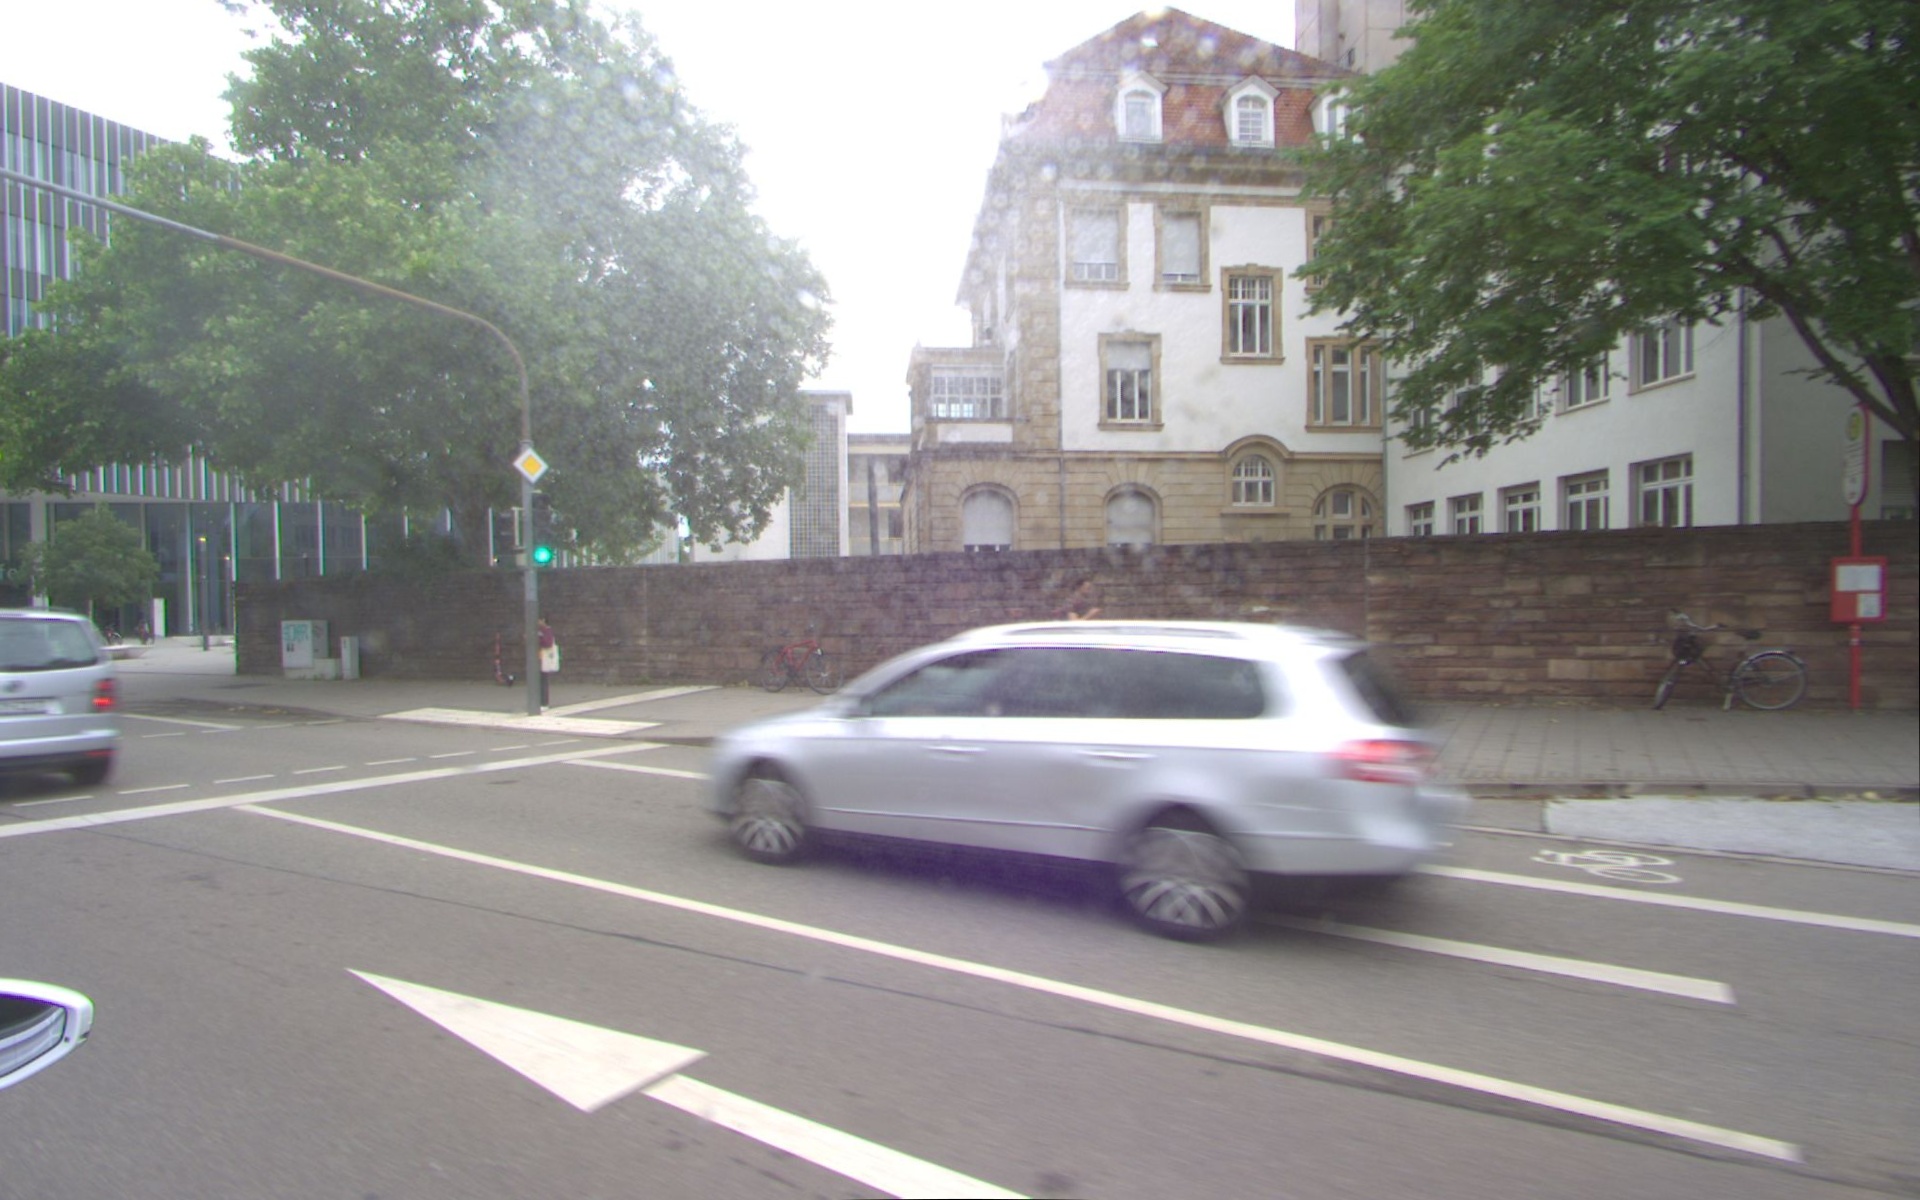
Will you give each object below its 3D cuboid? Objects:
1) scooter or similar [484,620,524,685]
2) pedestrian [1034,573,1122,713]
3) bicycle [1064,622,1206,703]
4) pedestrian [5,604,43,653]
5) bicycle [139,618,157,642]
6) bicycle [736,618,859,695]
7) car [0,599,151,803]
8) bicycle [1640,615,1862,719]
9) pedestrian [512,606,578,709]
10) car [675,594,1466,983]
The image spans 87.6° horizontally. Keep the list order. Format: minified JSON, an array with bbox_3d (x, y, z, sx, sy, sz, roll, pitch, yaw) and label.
[{"bbox_3d":[-9.140,1.018,20.049,0.427,1.195,1.693,-3,2,-33],"label":"scooter or similar"},{"bbox_3d":[1.616,0.564,13.696,1.017,1.846,0.629,0,2,32],"label":"pedestrian"},{"bbox_3d":[2.566,0.891,14.645,1.934,1.088,0.941,-1,2,17],"label":"bicycle"},{"bbox_3d":[-35.360,1.061,37.836,0.756,1.789,0.845,0,2,32],"label":"pedestrian"},{"bbox_3d":[-40.002,1.464,49.346,0.616,1.070,1.933,-2,2,-38],"label":"bicycle"},{"bbox_3d":[-2.736,0.923,16.828,1.923,1.190,0.802,0,3,27],"label":"bicycle"},{"bbox_3d":[-9.332,0.832,9.175,4.045,1.624,1.727,-1,-1,31],"label":"car"},{"bbox_3d":[9.394,0.774,11.991,1.889,1.143,0.849,-1,2,17],"label":"bicycle"},{"bbox_3d":[-6.740,0.912,16.258,0.627,1.584,0.658,0,5,32],"label":"pedestrian"},{"bbox_3d":[0.460,0.864,6.089,4.467,1.570,1.820,-2,-3,35],"label":"car"}]
